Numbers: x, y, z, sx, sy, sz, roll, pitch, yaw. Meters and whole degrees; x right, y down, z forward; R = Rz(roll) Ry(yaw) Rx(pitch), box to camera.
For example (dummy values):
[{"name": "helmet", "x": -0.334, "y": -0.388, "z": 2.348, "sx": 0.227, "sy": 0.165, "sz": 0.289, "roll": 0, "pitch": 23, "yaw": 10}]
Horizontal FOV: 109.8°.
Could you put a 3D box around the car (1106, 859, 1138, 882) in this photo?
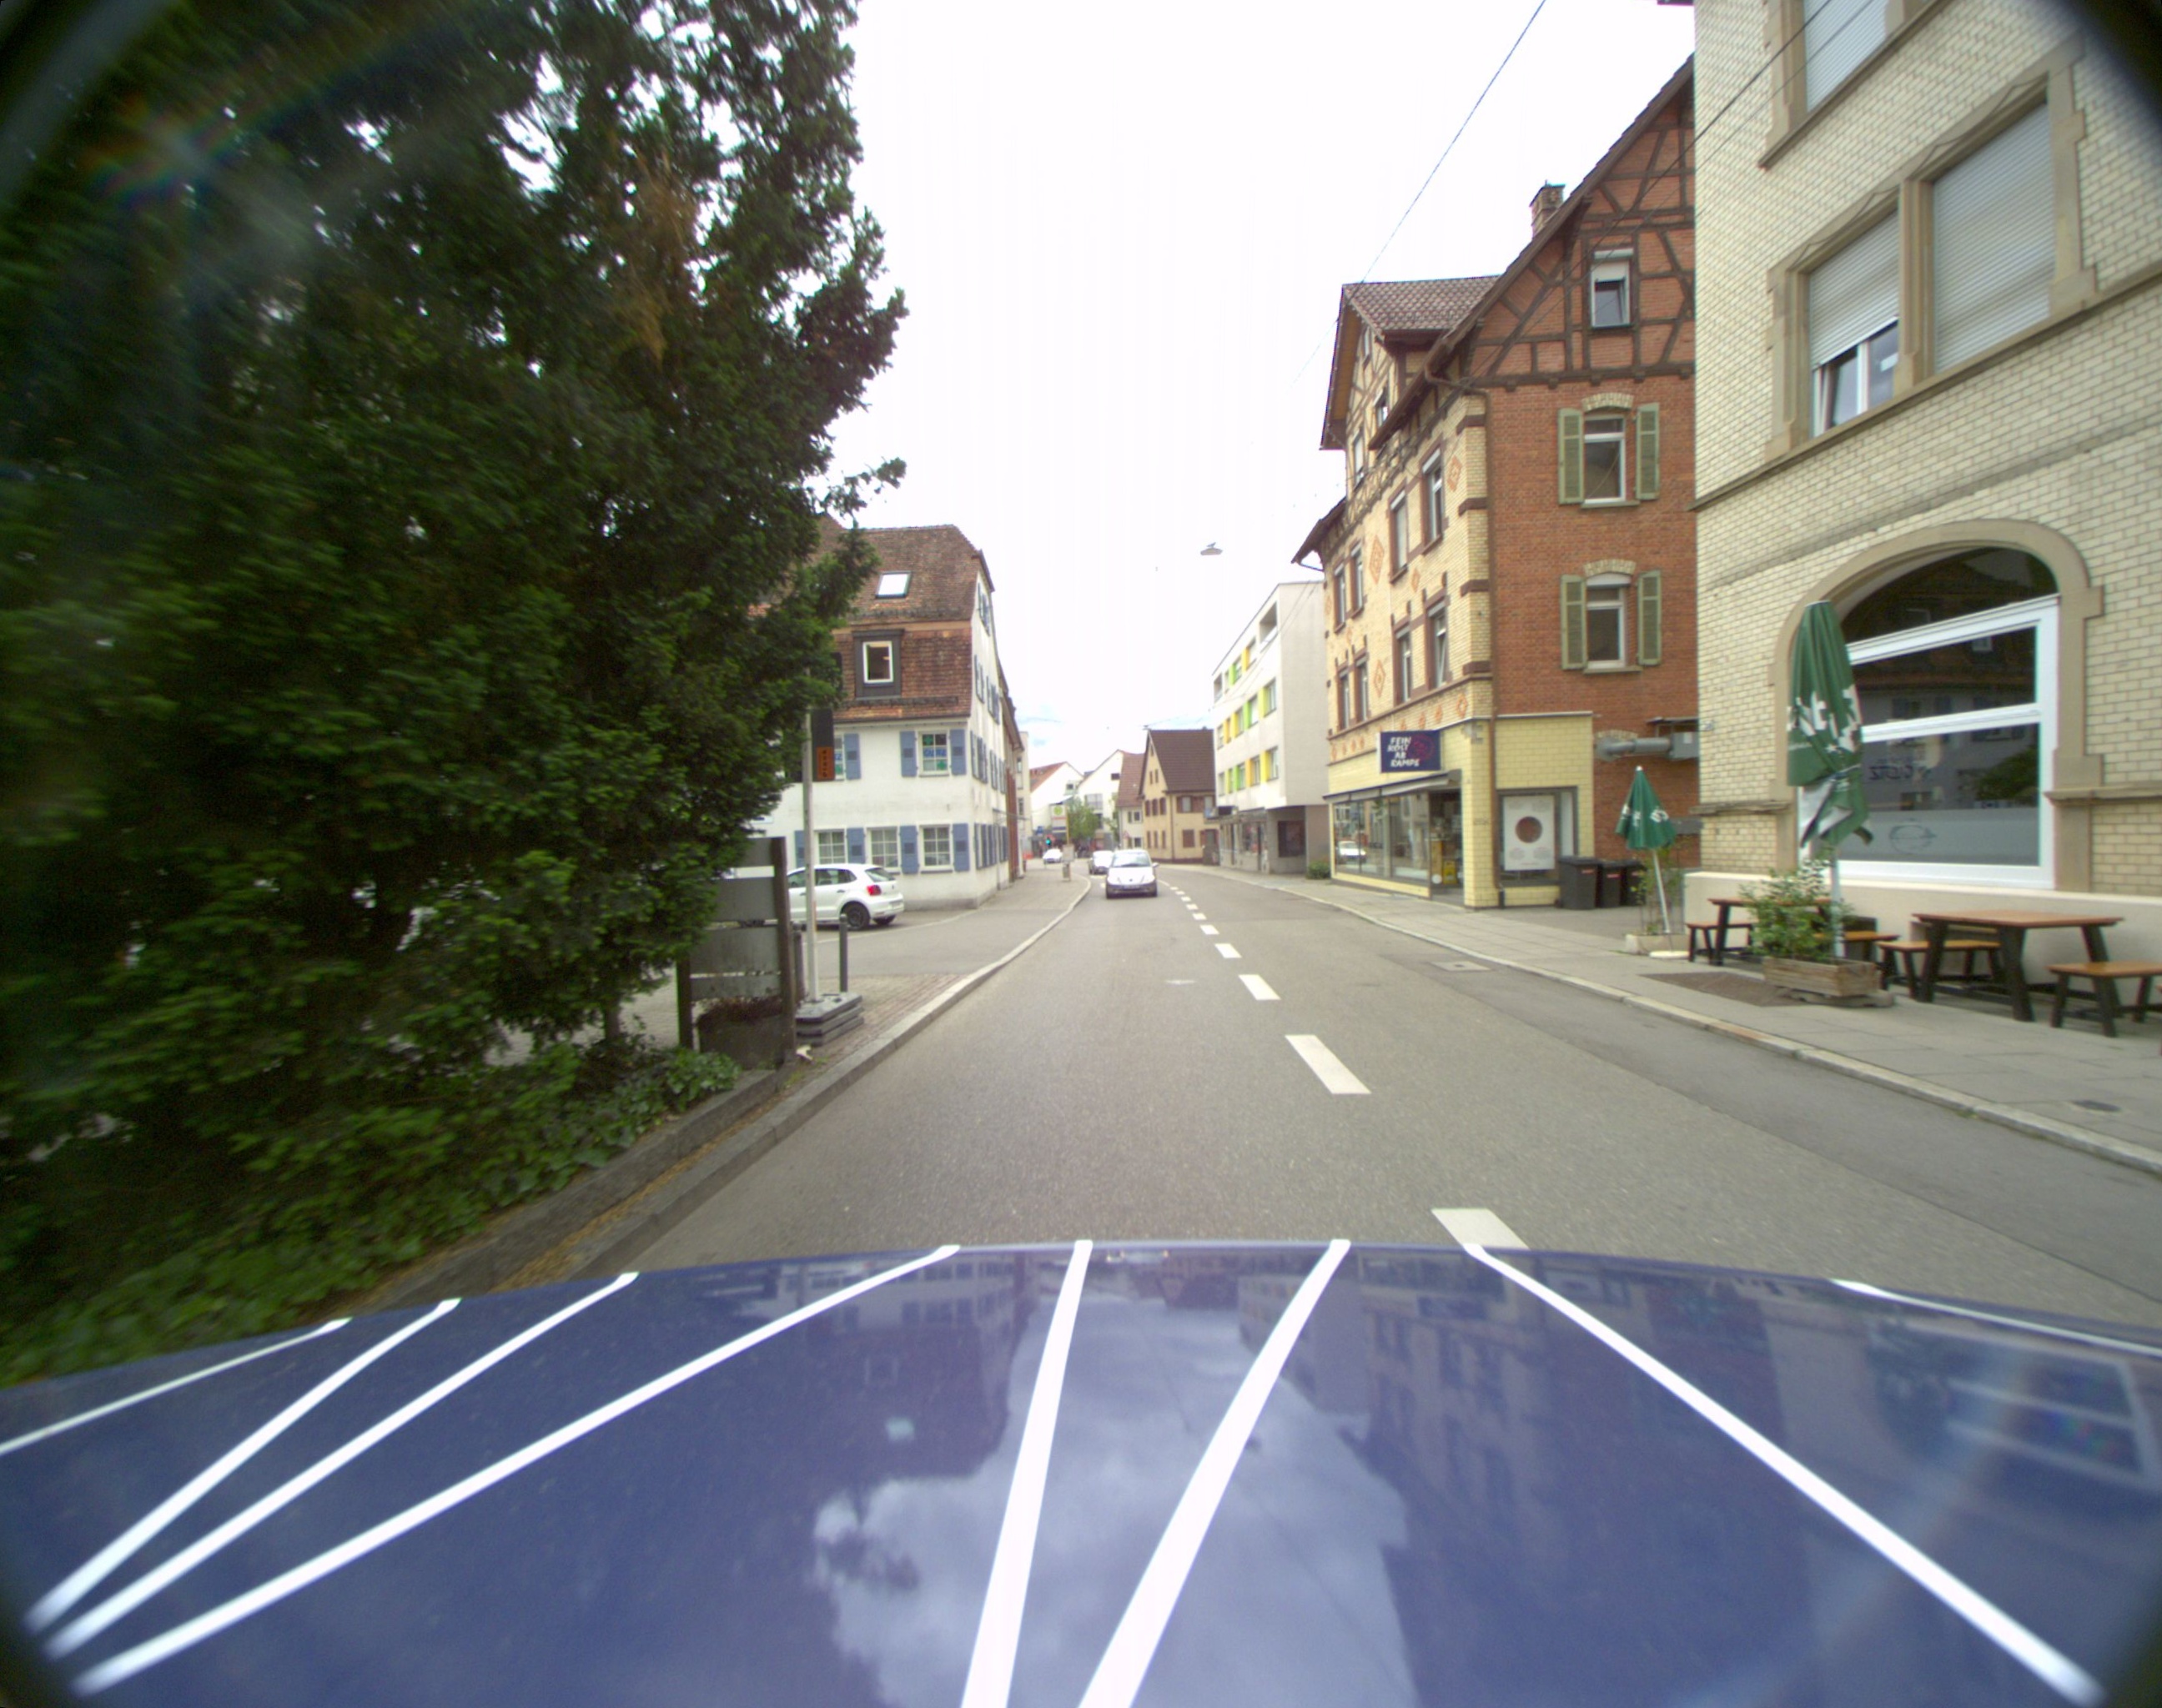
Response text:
[{"name": "car", "x": 2.606, "y": 1.041, "z": 49.245, "sx": 1.755, "sy": 1.347, "sz": 3.999, "roll": -2, "pitch": 0, "yaw": -1}]

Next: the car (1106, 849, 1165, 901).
[{"name": "car", "x": 1.862, "y": 0.669, "z": 26.679, "sx": 1.894, "sy": 1.618, "sz": 4.000, "roll": -1, "pitch": 1, "yaw": 2}]

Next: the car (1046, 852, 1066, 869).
[{"name": "car", "x": -2.818, "y": 0.649, "z": 83.826, "sx": 2.001, "sy": 1.618, "sz": 3.997, "roll": -3, "pitch": 2, "yaw": -3}]

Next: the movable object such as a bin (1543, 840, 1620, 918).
[{"name": "movable object such as a bin", "x": 9.740, "y": 0.467, "z": 14.812, "sx": 0.944, "sy": 1.371, "sz": 0.823, "roll": -5, "pitch": 4, "yaw": 4}]

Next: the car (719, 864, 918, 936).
[{"name": "car", "x": -5.948, "y": 1.029, "z": 17.462, "sx": 3.799, "sy": 1.410, "sz": 1.898, "roll": -2, "pitch": 1, "yaw": 9}]

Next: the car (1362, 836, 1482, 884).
[{"name": "car", "x": 13.769, "y": 0.222, "z": 30.868, "sx": 4.006, "sy": 1.652, "sz": 1.886, "roll": -3, "pitch": 1, "yaw": 4}]
